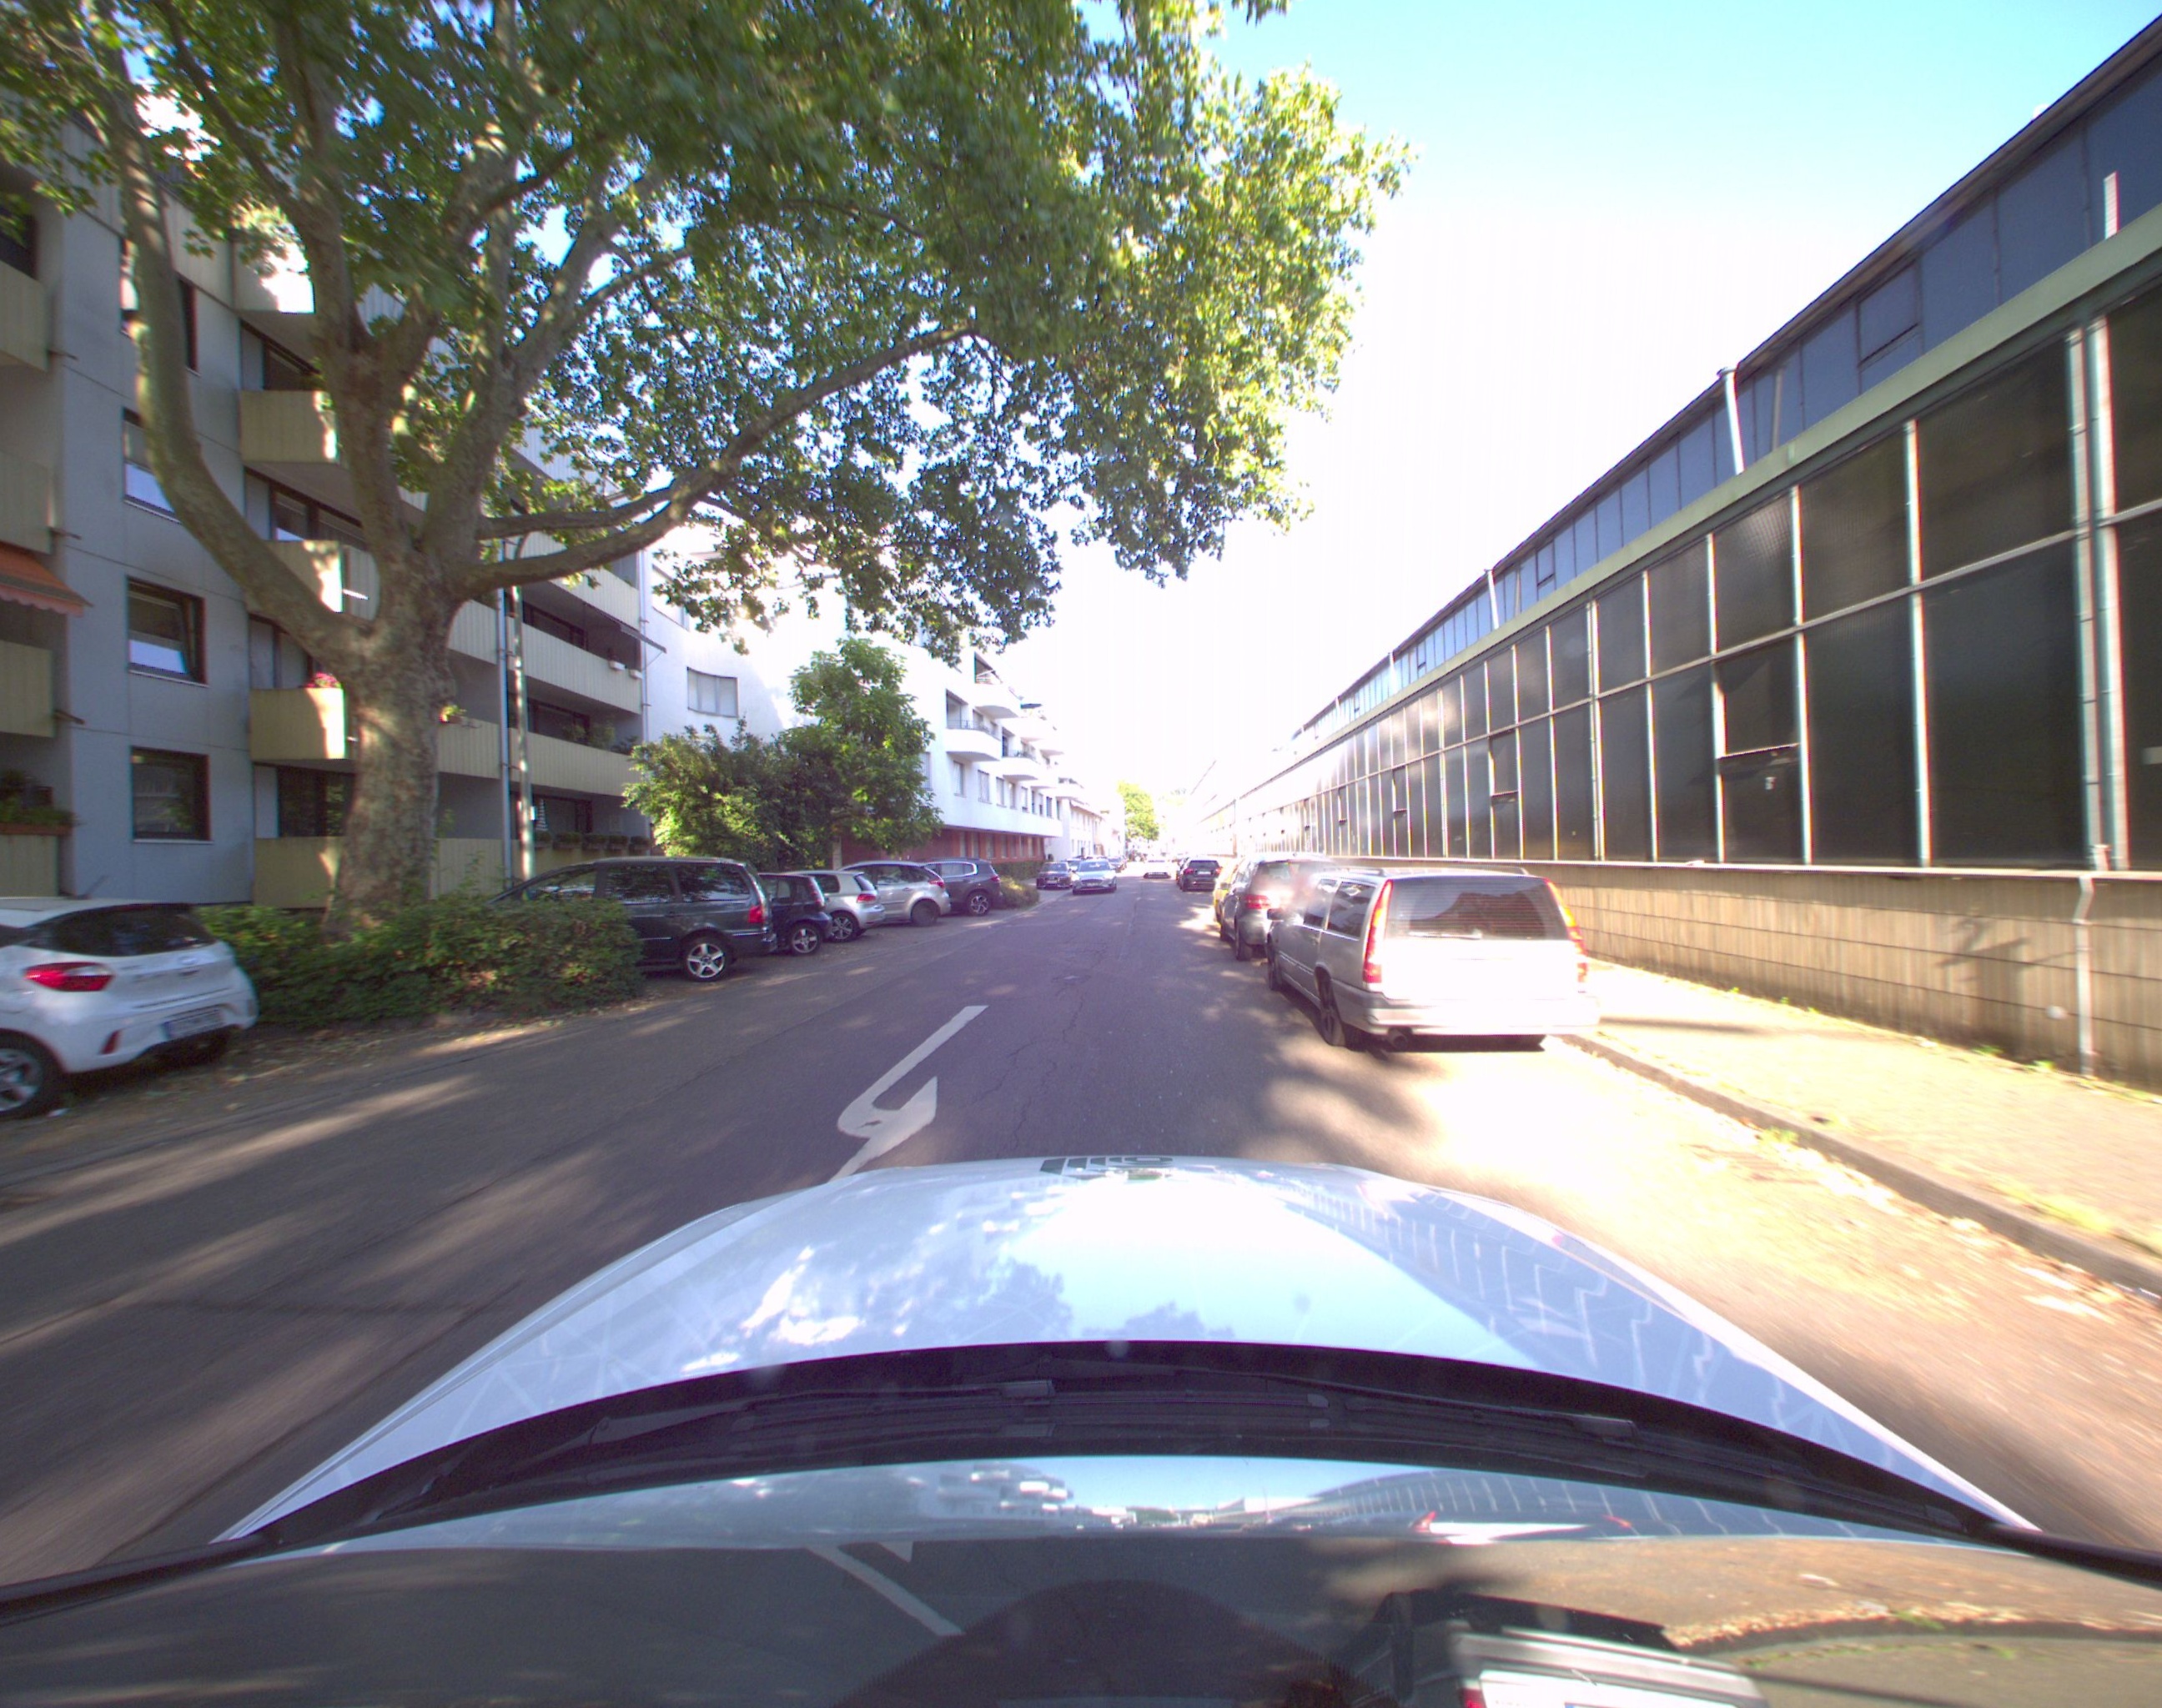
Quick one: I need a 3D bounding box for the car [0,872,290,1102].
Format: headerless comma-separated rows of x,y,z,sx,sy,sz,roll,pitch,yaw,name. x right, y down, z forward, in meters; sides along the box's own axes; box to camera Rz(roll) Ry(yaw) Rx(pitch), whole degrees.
-8.728,0.912,6.061,3.653,1.494,1.769,0,0,-13,car

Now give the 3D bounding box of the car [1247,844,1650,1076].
2.843,0.711,7.566,1.892,1.493,4.532,0,-1,3,car

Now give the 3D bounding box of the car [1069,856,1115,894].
0.531,0.892,36.408,1.892,1.536,4.623,-2,-1,2,car

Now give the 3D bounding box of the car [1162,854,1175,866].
13.930,0.919,130.110,1.845,1.791,4.612,0,0,4,car

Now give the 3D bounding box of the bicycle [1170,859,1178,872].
8.180,1.023,71.629,0.694,1.130,2.407,0,-1,7,bicycle

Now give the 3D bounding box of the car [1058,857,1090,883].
-0.418,1.034,54.248,1.850,1.587,4.624,1,-1,3,car

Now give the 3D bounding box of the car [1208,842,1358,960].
3.133,0.673,13.455,1.742,1.635,4.315,0,-1,5,car

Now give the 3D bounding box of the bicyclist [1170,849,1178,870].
8.180,0.501,71.589,0.694,1.790,1.043,0,-1,7,bicyclist

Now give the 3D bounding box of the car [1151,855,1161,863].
14.279,0.884,155.631,1.833,1.491,4.150,0,-1,5,car

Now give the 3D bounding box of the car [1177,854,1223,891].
5.179,0.794,35.838,1.742,1.491,4.628,1,-1,5,car

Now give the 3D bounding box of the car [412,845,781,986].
-6.706,0.798,11.878,4.267,1.775,1.894,0,-1,-18,car

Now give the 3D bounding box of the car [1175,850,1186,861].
16.089,0.219,132.204,1.621,1.587,4.075,-3,-1,6,car

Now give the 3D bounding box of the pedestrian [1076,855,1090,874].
0.220,1.029,81.488,0.853,1.818,1.139,3,1,29,pedestrian

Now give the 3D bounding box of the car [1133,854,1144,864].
10.625,0.852,150.008,1.843,1.791,4.617,0,0,7,car

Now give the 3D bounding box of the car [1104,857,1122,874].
3.011,1.105,76.341,1.678,1.535,4.337,1,-1,2,car

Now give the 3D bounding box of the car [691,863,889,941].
-6.048,0.968,17.276,3.634,1.561,1.696,0,-1,-7,car

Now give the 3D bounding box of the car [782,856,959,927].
-5.291,0.886,20.475,4.139,1.640,1.765,0,-1,-20,car

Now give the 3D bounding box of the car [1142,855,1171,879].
4.994,0.847,54.156,1.833,1.491,4.150,0,-1,5,car

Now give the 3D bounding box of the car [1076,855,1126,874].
1.750,0.925,70.528,4.302,1.535,1.691,1,-1,3,car

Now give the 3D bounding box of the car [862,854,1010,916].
-4.209,0.863,23.584,3.964,1.662,1.687,0,-1,-23,car

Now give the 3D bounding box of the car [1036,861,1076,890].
-1.266,1.078,42.391,1.667,1.433,3.775,1,-1,4,car

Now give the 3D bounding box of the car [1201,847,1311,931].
3.709,0.700,17.925,1.743,1.635,4.004,0,-1,3,car

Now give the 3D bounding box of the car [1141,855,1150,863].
13.380,1.022,168.502,1.696,1.575,3.920,0,0,6,car

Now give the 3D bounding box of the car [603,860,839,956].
-6.312,0.895,14.646,3.651,1.561,1.688,0,-1,-21,car

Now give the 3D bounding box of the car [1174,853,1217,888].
5.709,0.808,41.014,1.799,1.587,4.409,1,-1,3,car
